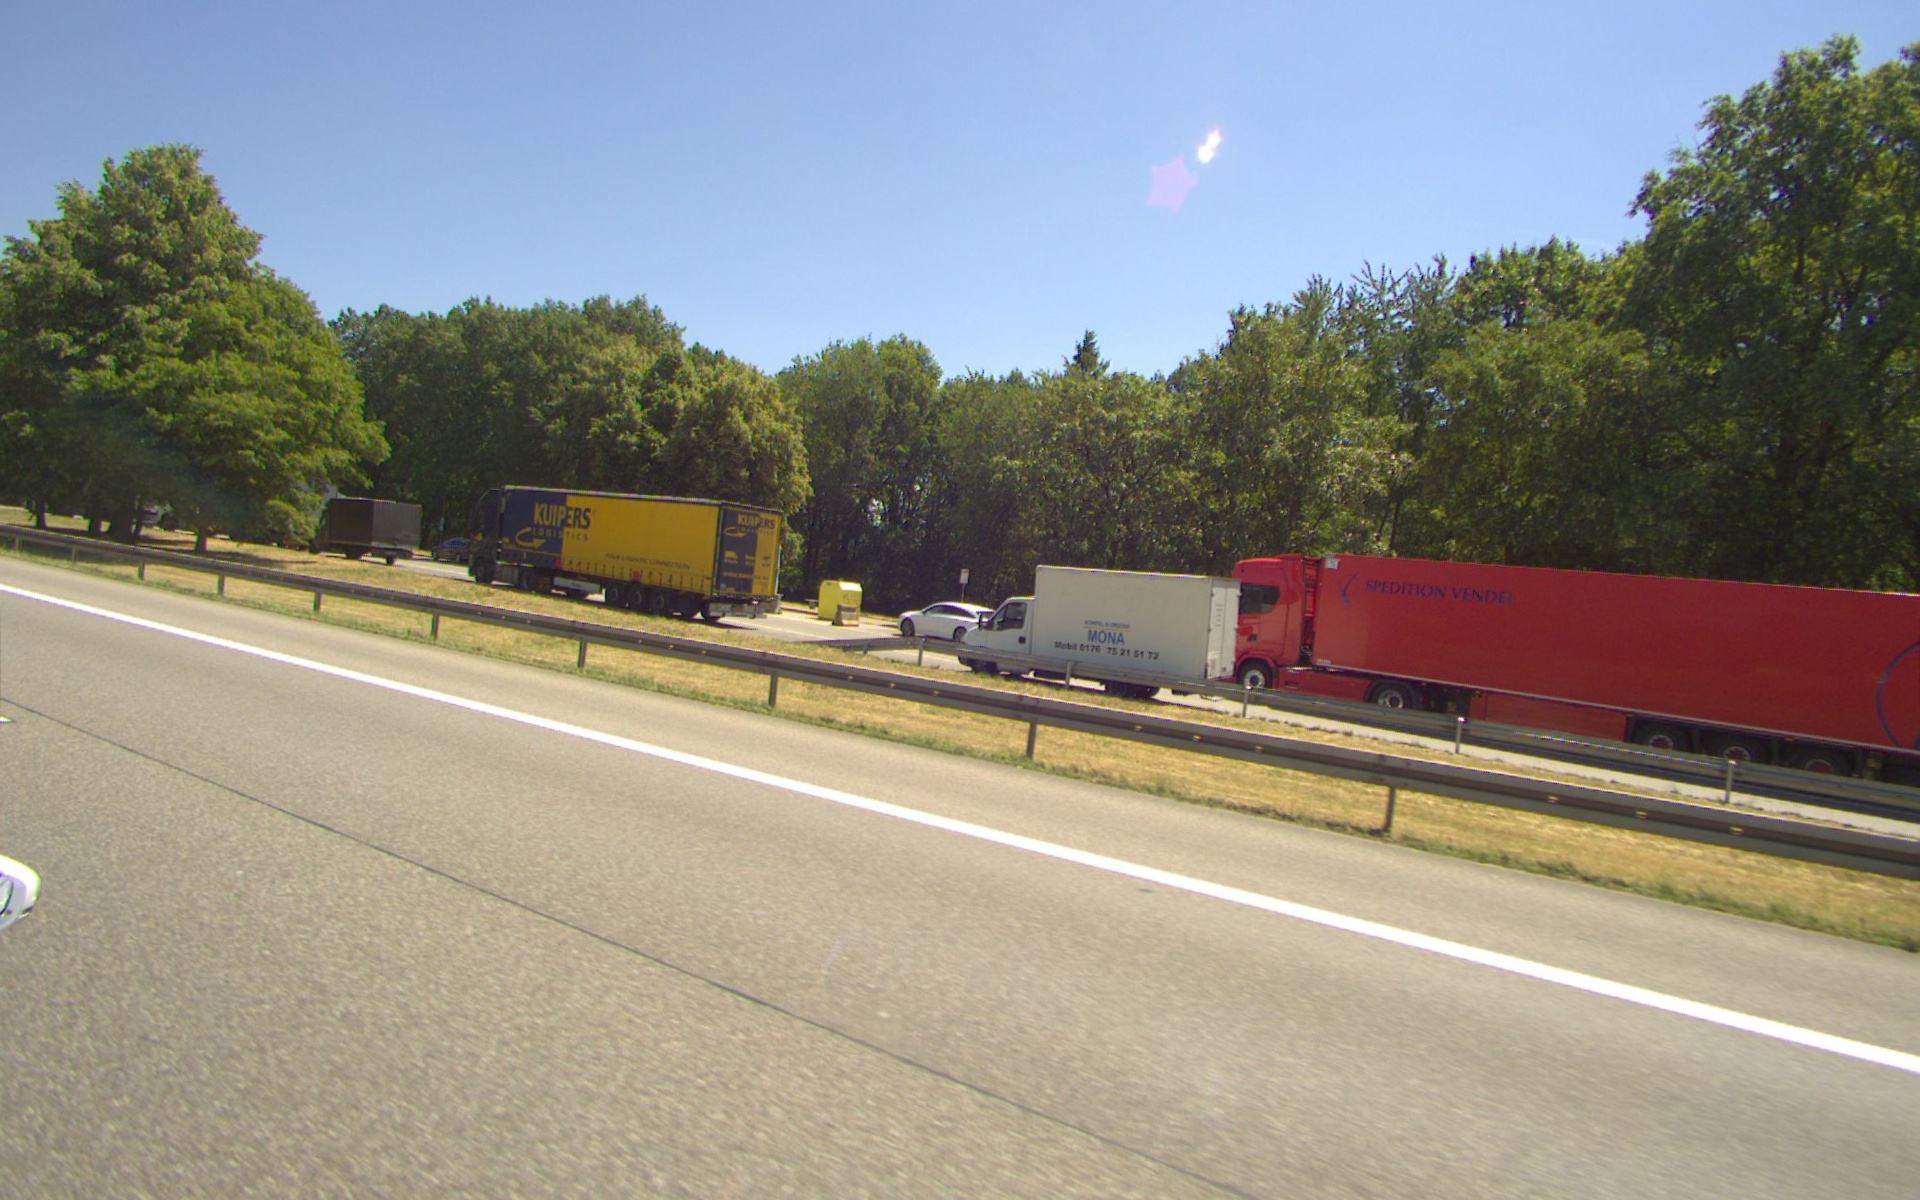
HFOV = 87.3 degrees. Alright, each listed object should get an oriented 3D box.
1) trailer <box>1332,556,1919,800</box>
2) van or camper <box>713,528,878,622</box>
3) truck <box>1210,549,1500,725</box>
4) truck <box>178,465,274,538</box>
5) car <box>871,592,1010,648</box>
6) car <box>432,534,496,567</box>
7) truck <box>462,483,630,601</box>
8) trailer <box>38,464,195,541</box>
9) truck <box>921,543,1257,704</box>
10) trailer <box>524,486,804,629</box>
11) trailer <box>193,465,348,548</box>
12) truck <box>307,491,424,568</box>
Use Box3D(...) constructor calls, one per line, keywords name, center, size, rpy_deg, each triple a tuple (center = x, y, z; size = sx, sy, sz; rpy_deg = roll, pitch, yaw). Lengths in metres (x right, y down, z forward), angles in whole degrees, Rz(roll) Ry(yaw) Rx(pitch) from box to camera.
Box3D(name="trailer", center=(15.422, 1.459, 22.721), size=(12.713, 3.926, 2.973), rpy_deg=(6, 0, 43))
Box3D(name="van or camper", center=(-7.224, -1.131, 43.655), size=(6.898, 3.275, 2.996), rpy_deg=(7, 0, 39))
Box3D(name="truck", center=(10.548, 0.908, 27.242), size=(6.330, 3.930, 2.973), rpy_deg=(6, 0, 43))
Box3D(name="truck", center=(-44.958, -6.040, 61.613), size=(5.236, 3.835, 3.089), rpy_deg=(7, -1, 38))
Box3D(name="car", center=(-0.773, 0.720, 37.137), size=(4.962, 1.469, 1.991), rpy_deg=(6, 0, 40))
Box3D(name="car", center=(-30.390, -3.059, 61.591), size=(3.940, 1.566, 1.841), rpy_deg=(7, 0, 38))
Box3D(name="truck", center=(-16.527, -2.351, 39.951), size=(6.521, 3.983, 3.181), rpy_deg=(6, 0, 40))
Box3D(name="trailer", center=(-56.951, -6.612, 67.730), size=(13.953, 4.003, 3.140), rpy_deg=(7, 1, 29))
Box3D(name="truck", center=(2.972, 0.486, 24.539), size=(7.535, 2.982, 2.470), rpy_deg=(7, 0, 33))
Box3D(name="trailer", center=(-10.643, -1.649, 35.041), size=(11.382, 3.983, 3.182), rpy_deg=(6, 0, 40))
Box3D(name="trailer", center=(-39.555, -5.438, 57.392), size=(13.162, 3.835, 3.102), rpy_deg=(6, -1, 38))
Box3D(name="truck", center=(-29.576, -3.543, 49.950), size=(6.516, 3.123, 2.469), rpy_deg=(7, -1, 37))
